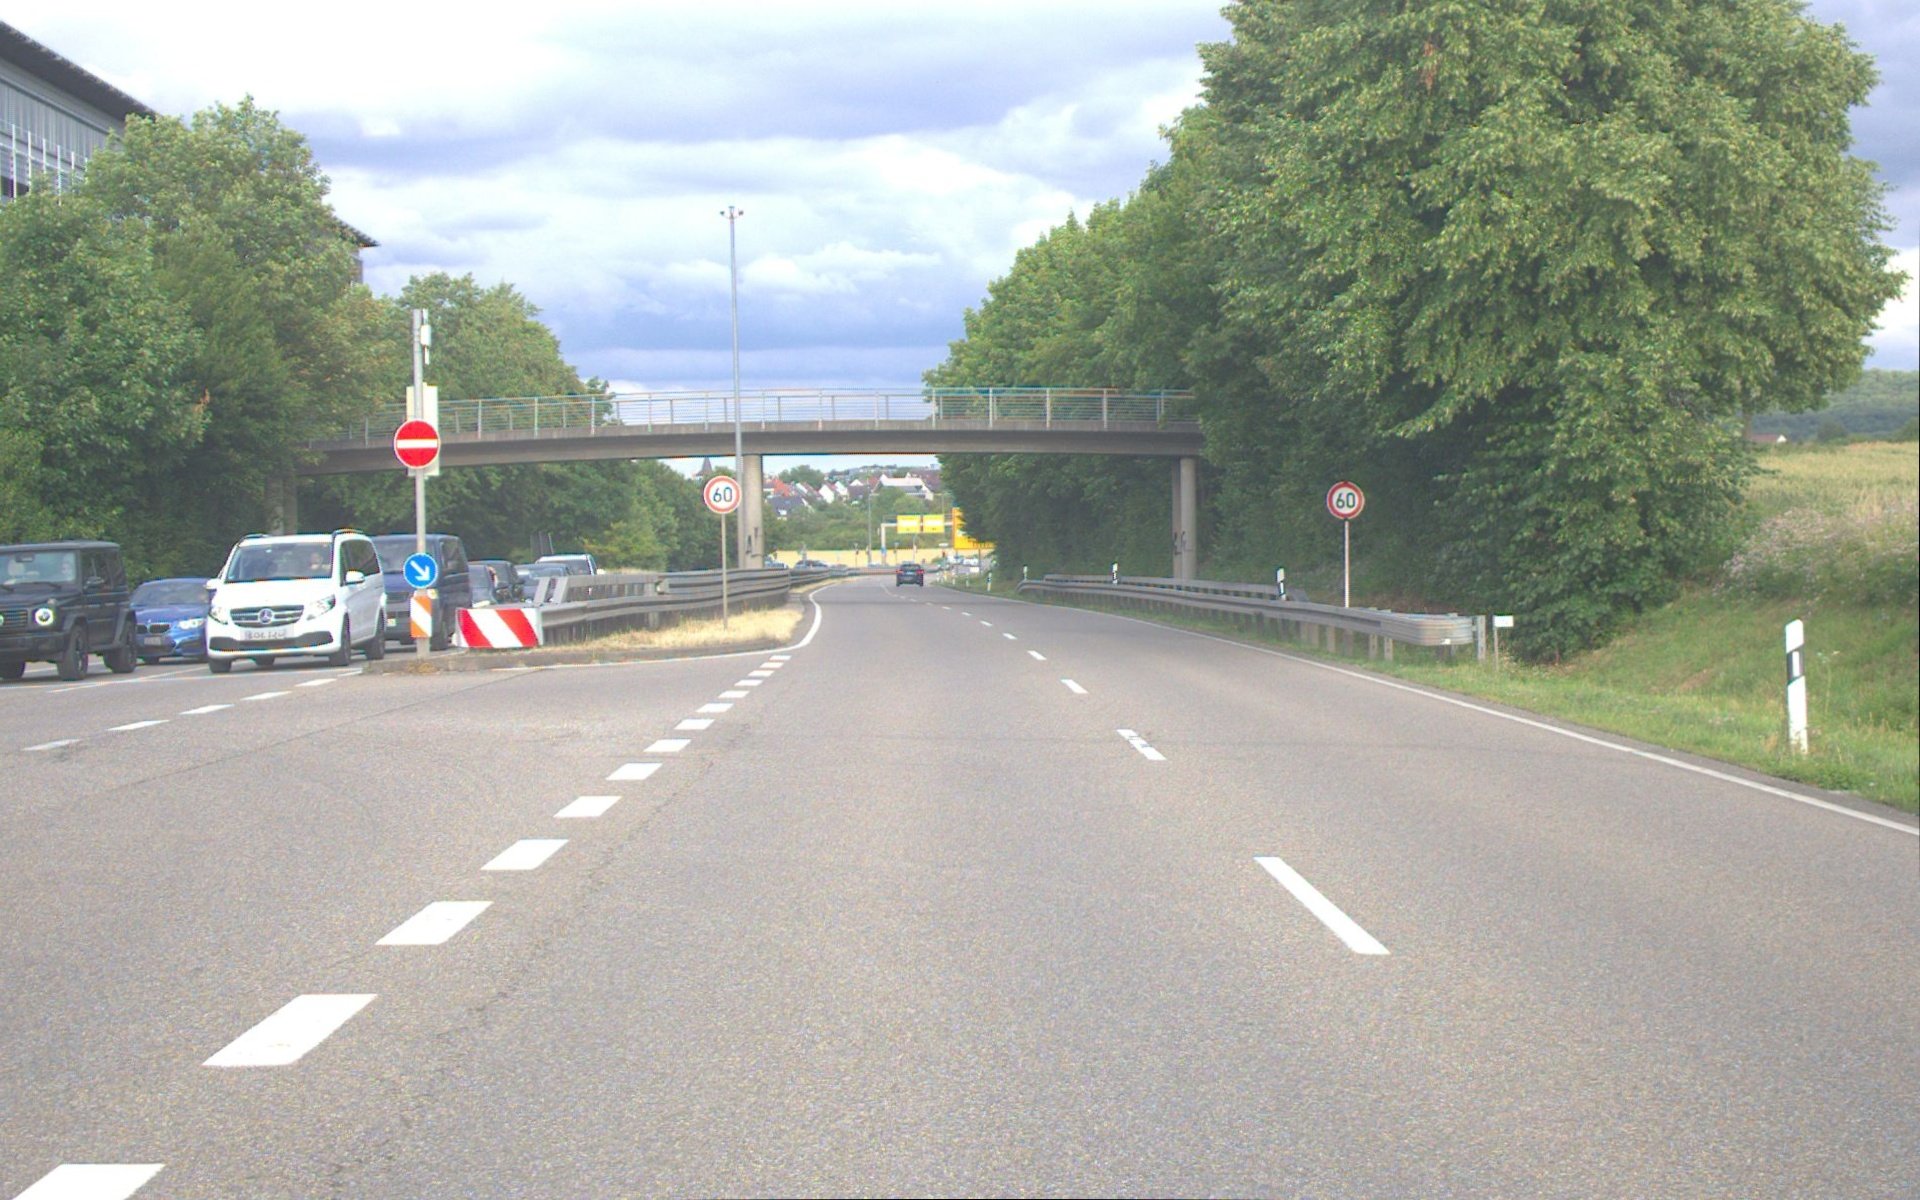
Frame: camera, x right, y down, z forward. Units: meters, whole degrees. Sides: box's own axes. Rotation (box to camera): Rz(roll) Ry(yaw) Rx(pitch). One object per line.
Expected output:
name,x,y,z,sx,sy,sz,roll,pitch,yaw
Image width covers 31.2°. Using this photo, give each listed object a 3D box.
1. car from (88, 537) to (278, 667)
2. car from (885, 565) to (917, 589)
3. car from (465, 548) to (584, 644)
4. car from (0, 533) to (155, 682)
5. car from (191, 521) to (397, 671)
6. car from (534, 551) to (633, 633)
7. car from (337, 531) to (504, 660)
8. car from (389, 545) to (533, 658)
car,-12.748,0.007,56.752,2.083,2.007,5.217,1,0,-2
car,-3.915,-1.514,228.297,1.879,1.547,4.001,1,0,-4
car,-9.542,-0.108,75.645,2.083,2.007,5.217,1,0,-2
car,-13.116,0.068,49.251,2.083,2.007,5.217,1,0,-2
car,-9.482,-0.079,49.361,2.083,2.007,5.217,1,0,-2
car,-9.575,-0.218,87.792,2.083,2.007,5.217,1,0,-2
car,-8.904,-0.096,57.098,2.083,2.007,5.217,1,0,-2
car,-9.326,-0.005,64.665,2.083,2.007,5.217,1,0,-2
